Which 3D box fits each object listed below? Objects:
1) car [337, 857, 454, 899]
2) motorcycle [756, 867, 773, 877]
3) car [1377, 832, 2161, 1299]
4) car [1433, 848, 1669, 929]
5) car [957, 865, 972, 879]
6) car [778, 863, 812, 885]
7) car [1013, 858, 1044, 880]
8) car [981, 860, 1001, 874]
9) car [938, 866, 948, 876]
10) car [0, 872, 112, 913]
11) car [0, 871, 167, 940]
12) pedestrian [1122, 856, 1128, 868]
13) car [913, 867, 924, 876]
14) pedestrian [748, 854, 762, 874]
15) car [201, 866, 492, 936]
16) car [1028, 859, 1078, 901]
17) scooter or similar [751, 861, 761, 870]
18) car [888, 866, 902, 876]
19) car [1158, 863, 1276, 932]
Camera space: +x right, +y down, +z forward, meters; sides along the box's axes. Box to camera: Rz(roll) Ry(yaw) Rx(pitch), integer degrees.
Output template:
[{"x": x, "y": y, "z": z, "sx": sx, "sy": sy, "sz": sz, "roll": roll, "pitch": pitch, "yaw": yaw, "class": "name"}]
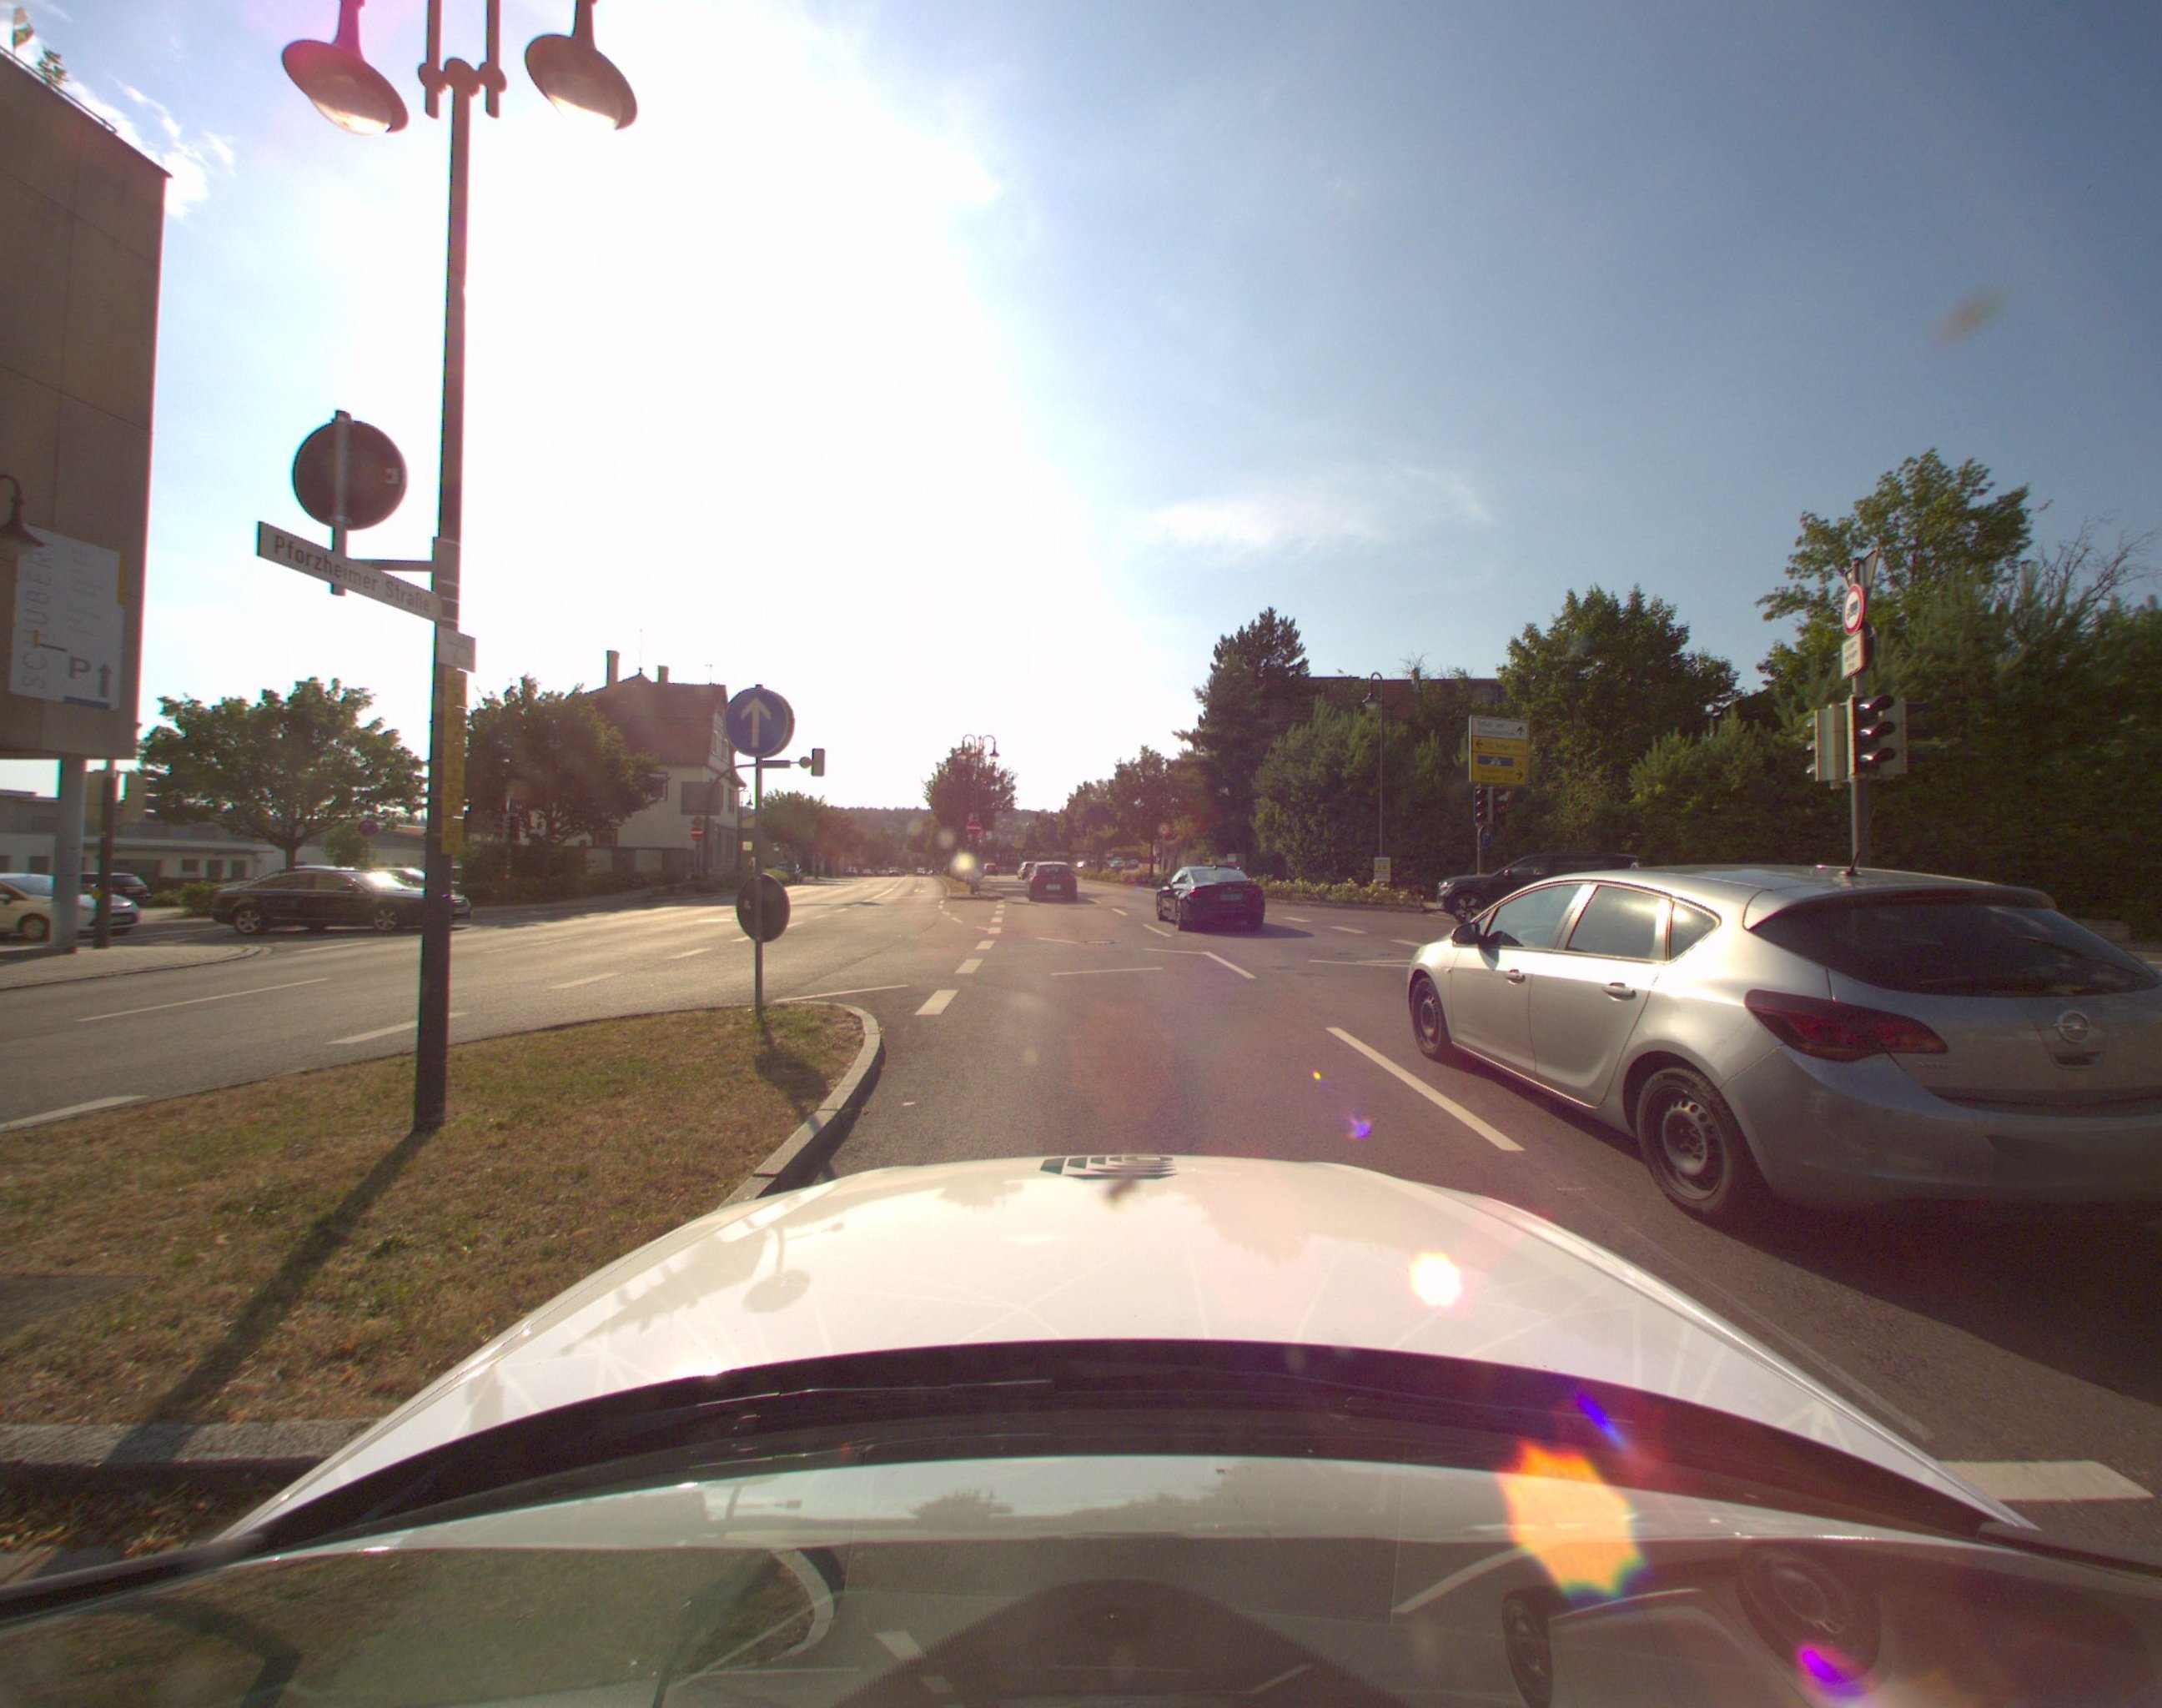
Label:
[{"x": -28.607, "y": 0.975, "z": 34.074, "sx": 3.290, "sy": 1.639, "sz": 1.740, "roll": -1, "pitch": -1, "yaw": -14, "class": "car"}, {"x": -32.760, "y": 1.871, "z": 84.324, "sx": 0.511, "sy": 1.069, "sz": 1.880, "roll": -1, "pitch": -1, "yaw": 25, "class": "motorcycle"}, {"x": 3.340, "y": 0.676, "z": 4.782, "sx": 1.715, "sy": 1.490, "sz": 4.307, "roll": -1, "pitch": 0, "yaw": 1, "class": "car"}, {"x": 10.228, "y": 0.689, "z": 17.879, "sx": 4.216, "sy": 1.567, "sz": 1.804, "roll": -1, "pitch": -1, "yaw": 40, "class": "car"}, {"x": -15.254, "y": 2.274, "z": 106.316, "sx": 1.757, "sy": 1.769, "sz": 3.954, "roll": -1, "pitch": -1, "yaw": -12, "class": "car"}, {"x": -21.562, "y": 1.501, "z": 61.619, "sx": 1.757, "sy": 1.454, "sz": 4.116, "roll": 4, "pitch": -1, "yaw": -11, "class": "car"}, {"x": -4.413, "y": 1.241, "z": 67.586, "sx": 1.926, "sy": 1.769, "sz": 4.436, "roll": -1, "pitch": -1, "yaw": -12, "class": "car"}, {"x": -12.063, "y": 1.720, "z": 108.749, "sx": 2.218, "sy": 1.769, "sz": 4.436, "roll": -1, "pitch": -1, "yaw": -12, "class": "car"}, {"x": -28.655, "y": 3.534, "z": 168.826, "sx": 1.771, "sy": 2.014, "sz": 3.990, "roll": 0, "pitch": 0, "yaw": -7, "class": "car"}, {"x": -38.925, "y": 1.426, "z": 30.110, "sx": 3.650, "sy": 1.400, "sz": 1.740, "roll": -1, "pitch": -1, "yaw": -14, "class": "car"}, {"x": -23.595, "y": 1.136, "z": 18.297, "sx": 3.806, "sy": 1.437, "sz": 1.864, "roll": -1, "pitch": -1, "yaw": -5, "class": "car"}, {"x": 6.538, "y": 1.177, "z": 120.838, "sx": 0.694, "sy": 1.703, "sz": 0.949, "roll": -1, "pitch": -1, "yaw": -3, "class": "pedestrian"}, {"x": -29.061, "y": 3.102, "z": 145.762, "sx": 1.730, "sy": 1.679, "sz": 3.986, "roll": -1, "pitch": -1, "yaw": -10, "class": "car"}, {"x": -22.809, "y": 0.693, "z": 56.966, "sx": 0.813, "sy": 1.394, "sz": 0.704, "roll": 0, "pitch": -1, "yaw": -13, "class": "pedestrian"}, {"x": -16.927, "y": 1.046, "z": 18.995, "sx": 4.849, "sy": 1.437, "sz": 1.914, "roll": -1, "pitch": -1, "yaw": -4, "class": "car"}, {"x": -1.128, "y": 0.939, "z": 31.040, "sx": 1.718, "sy": 1.490, "sz": 4.346, "roll": 0, "pitch": -1, "yaw": -4, "class": "car"}, {"x": -22.315, "y": 0.781, "z": 55.951, "sx": 0.444, "sy": 0.582, "sz": 1.039, "roll": 0, "pitch": 0, "yaw": -12, "class": "scooter or similar"}, {"x": -27.597, "y": 2.495, "z": 121.019, "sx": 1.757, "sy": 1.361, "sz": 4.467, "roll": -1, "pitch": -1, "yaw": -11, "class": "car"}, {"x": 2.983, "y": 0.920, "z": 18.775, "sx": 1.915, "sy": 1.364, "sz": 4.350, "roll": -1, "pitch": -1, "yaw": -1, "class": "car"}]
